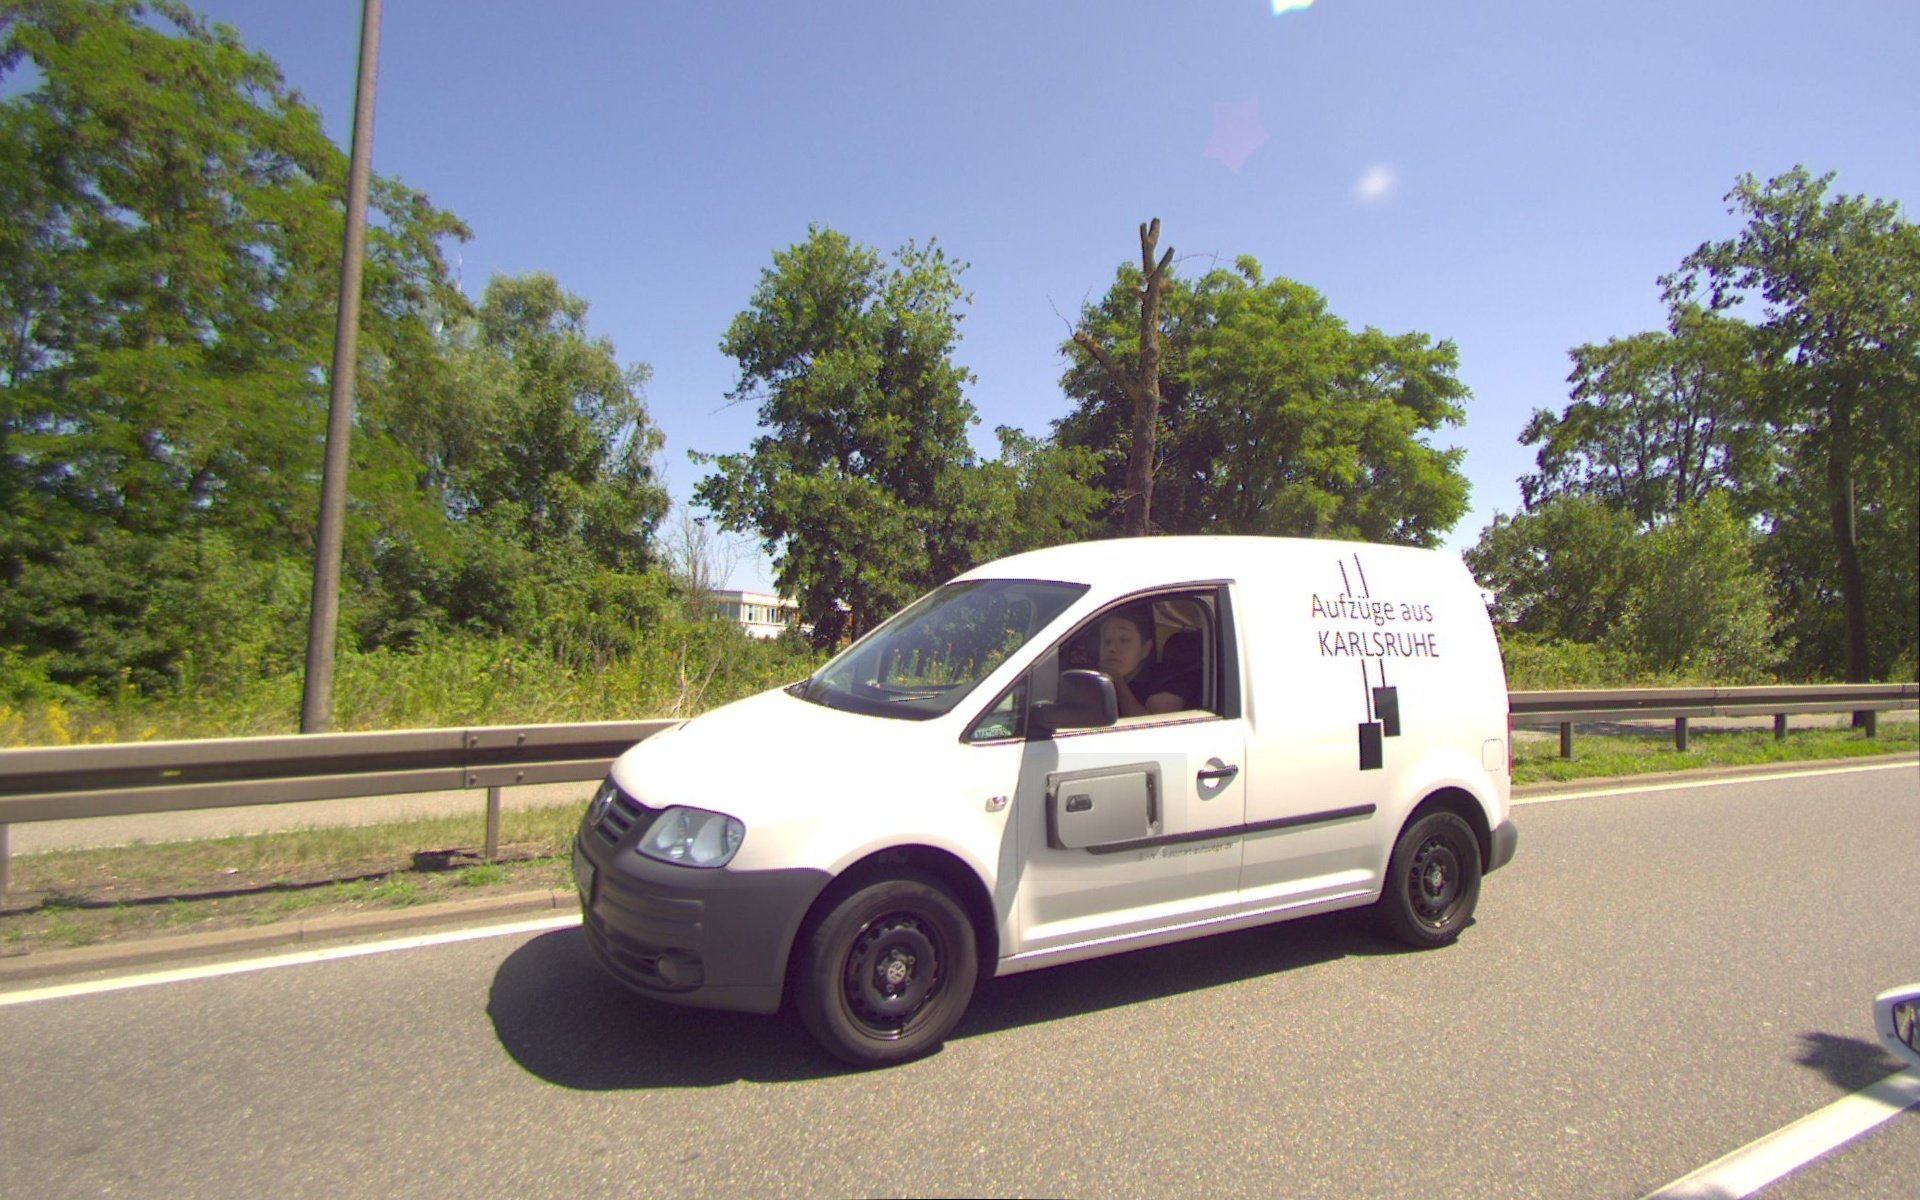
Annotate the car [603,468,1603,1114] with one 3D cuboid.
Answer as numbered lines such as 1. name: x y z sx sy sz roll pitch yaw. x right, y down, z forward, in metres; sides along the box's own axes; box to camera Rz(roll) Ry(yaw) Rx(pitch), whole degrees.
1. car: 0.787 0.570 4.588 4.335 1.787 1.738 1 0 -29
